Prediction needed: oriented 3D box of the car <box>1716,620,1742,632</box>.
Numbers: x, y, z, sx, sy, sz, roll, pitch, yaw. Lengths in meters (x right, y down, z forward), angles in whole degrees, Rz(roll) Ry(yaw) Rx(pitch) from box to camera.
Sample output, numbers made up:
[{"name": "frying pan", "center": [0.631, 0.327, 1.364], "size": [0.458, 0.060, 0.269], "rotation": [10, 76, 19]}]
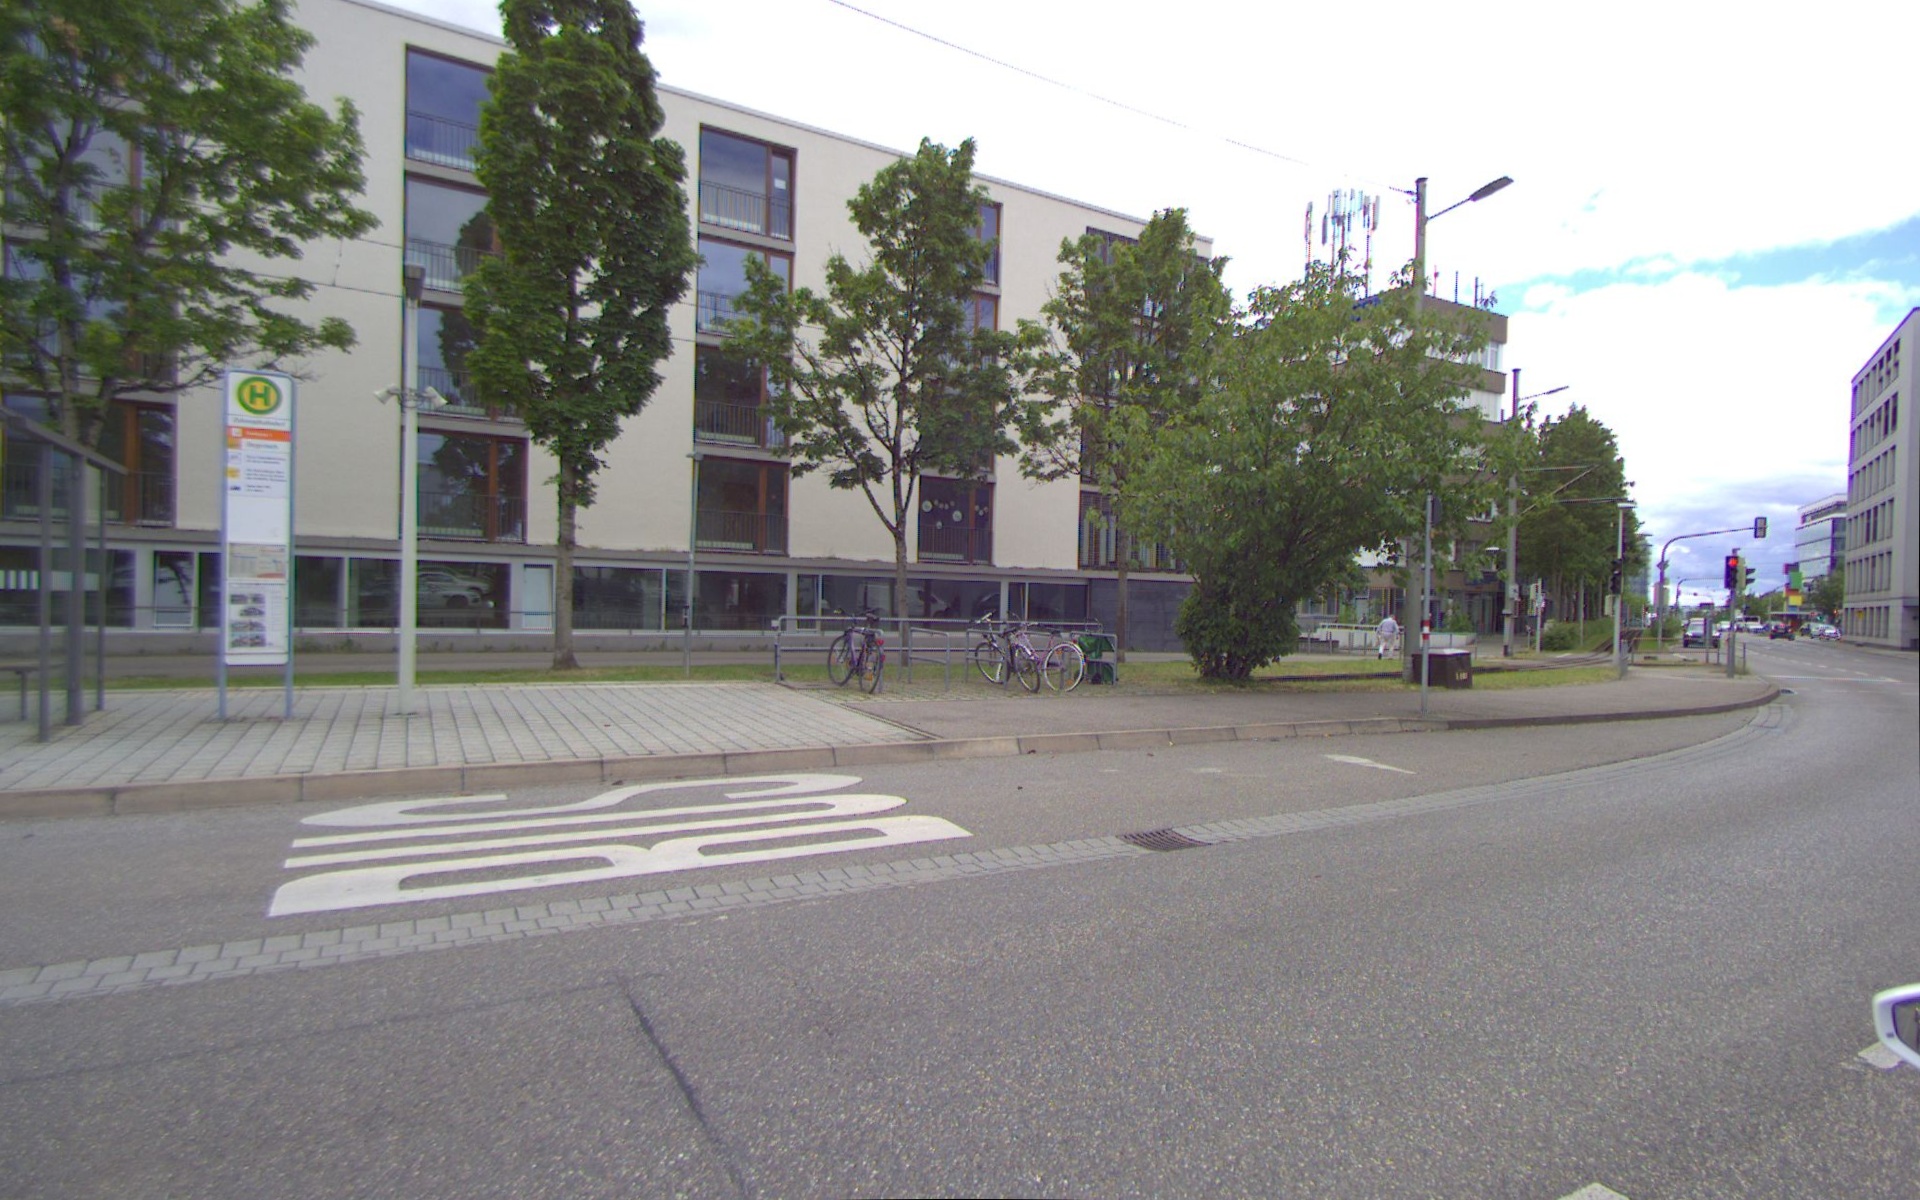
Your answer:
[{"name": "car", "center": [109.286, 3.691, 142.768], "size": [1.961, 1.599, 3.998], "rotation": [1, 0, 23]}]

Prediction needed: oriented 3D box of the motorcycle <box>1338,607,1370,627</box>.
[{"name": "motorcycle", "center": [25.151, 1.081, 64.145], "size": [0.563, 1.215, 1.864], "rotation": [1, 0, -38]}]

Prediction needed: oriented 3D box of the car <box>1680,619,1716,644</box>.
[{"name": "car", "center": [45.910, 1.972, 62.459], "size": [1.746, 1.498, 3.985], "rotation": [-1, -2, 37]}]

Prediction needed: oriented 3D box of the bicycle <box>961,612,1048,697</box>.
[{"name": "bicycle", "center": [0.611, 0.756, 14.450], "size": [0.403, 1.060, 1.741], "rotation": [1, 2, -28]}]

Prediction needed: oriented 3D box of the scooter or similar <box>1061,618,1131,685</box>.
[{"name": "scooter or similar", "center": [2.167, 0.807, 16.062], "size": [0.767, 1.023, 0.781], "rotation": [1, 0, -38]}]

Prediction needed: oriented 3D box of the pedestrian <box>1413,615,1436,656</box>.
[{"name": "pedestrian", "center": [19.798, 1.499, 42.840], "size": [0.677, 1.728, 0.681], "rotation": [1, -1, -41]}]

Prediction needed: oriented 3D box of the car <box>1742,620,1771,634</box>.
[{"name": "car", "center": [103.647, 3.548, 130.748], "size": [1.961, 1.726, 3.998], "rotation": [1, 0, 23]}]

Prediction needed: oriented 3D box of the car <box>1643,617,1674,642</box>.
[{"name": "car", "center": [51.539, 2.180, 74.053], "size": [1.660, 1.832, 4.335], "rotation": [-1, -2, 38]}]

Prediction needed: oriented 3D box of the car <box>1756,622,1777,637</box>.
[{"name": "car", "center": [92.010, 3.310, 114.578], "size": [1.737, 1.630, 4.171], "rotation": [2, 0, 38]}]

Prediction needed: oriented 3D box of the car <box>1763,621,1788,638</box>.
[{"name": "car", "center": [81.291, 2.925, 100.142], "size": [1.737, 1.630, 4.171], "rotation": [2, 0, 38]}]

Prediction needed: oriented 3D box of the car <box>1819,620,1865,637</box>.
[{"name": "car", "center": [94.552, 3.071, 107.715], "size": [1.959, 1.700, 4.002], "rotation": [1, 0, 13]}]

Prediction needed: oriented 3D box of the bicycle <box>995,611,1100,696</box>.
[{"name": "bicycle", "center": [1.269, 0.760, 14.833], "size": [0.405, 1.103, 1.689], "rotation": [1, 2, -42]}]

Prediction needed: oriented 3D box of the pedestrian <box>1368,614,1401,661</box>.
[{"name": "pedestrian", "center": [14.191, 1.247, 33.561], "size": [0.836, 1.547, 0.993], "rotation": [0, -1, 33]}]

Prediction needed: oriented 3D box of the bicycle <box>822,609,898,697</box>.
[{"name": "bicycle", "center": [-1.378, 0.680, 13.551], "size": [0.391, 1.039, 1.680], "rotation": [1, 2, -28]}]
